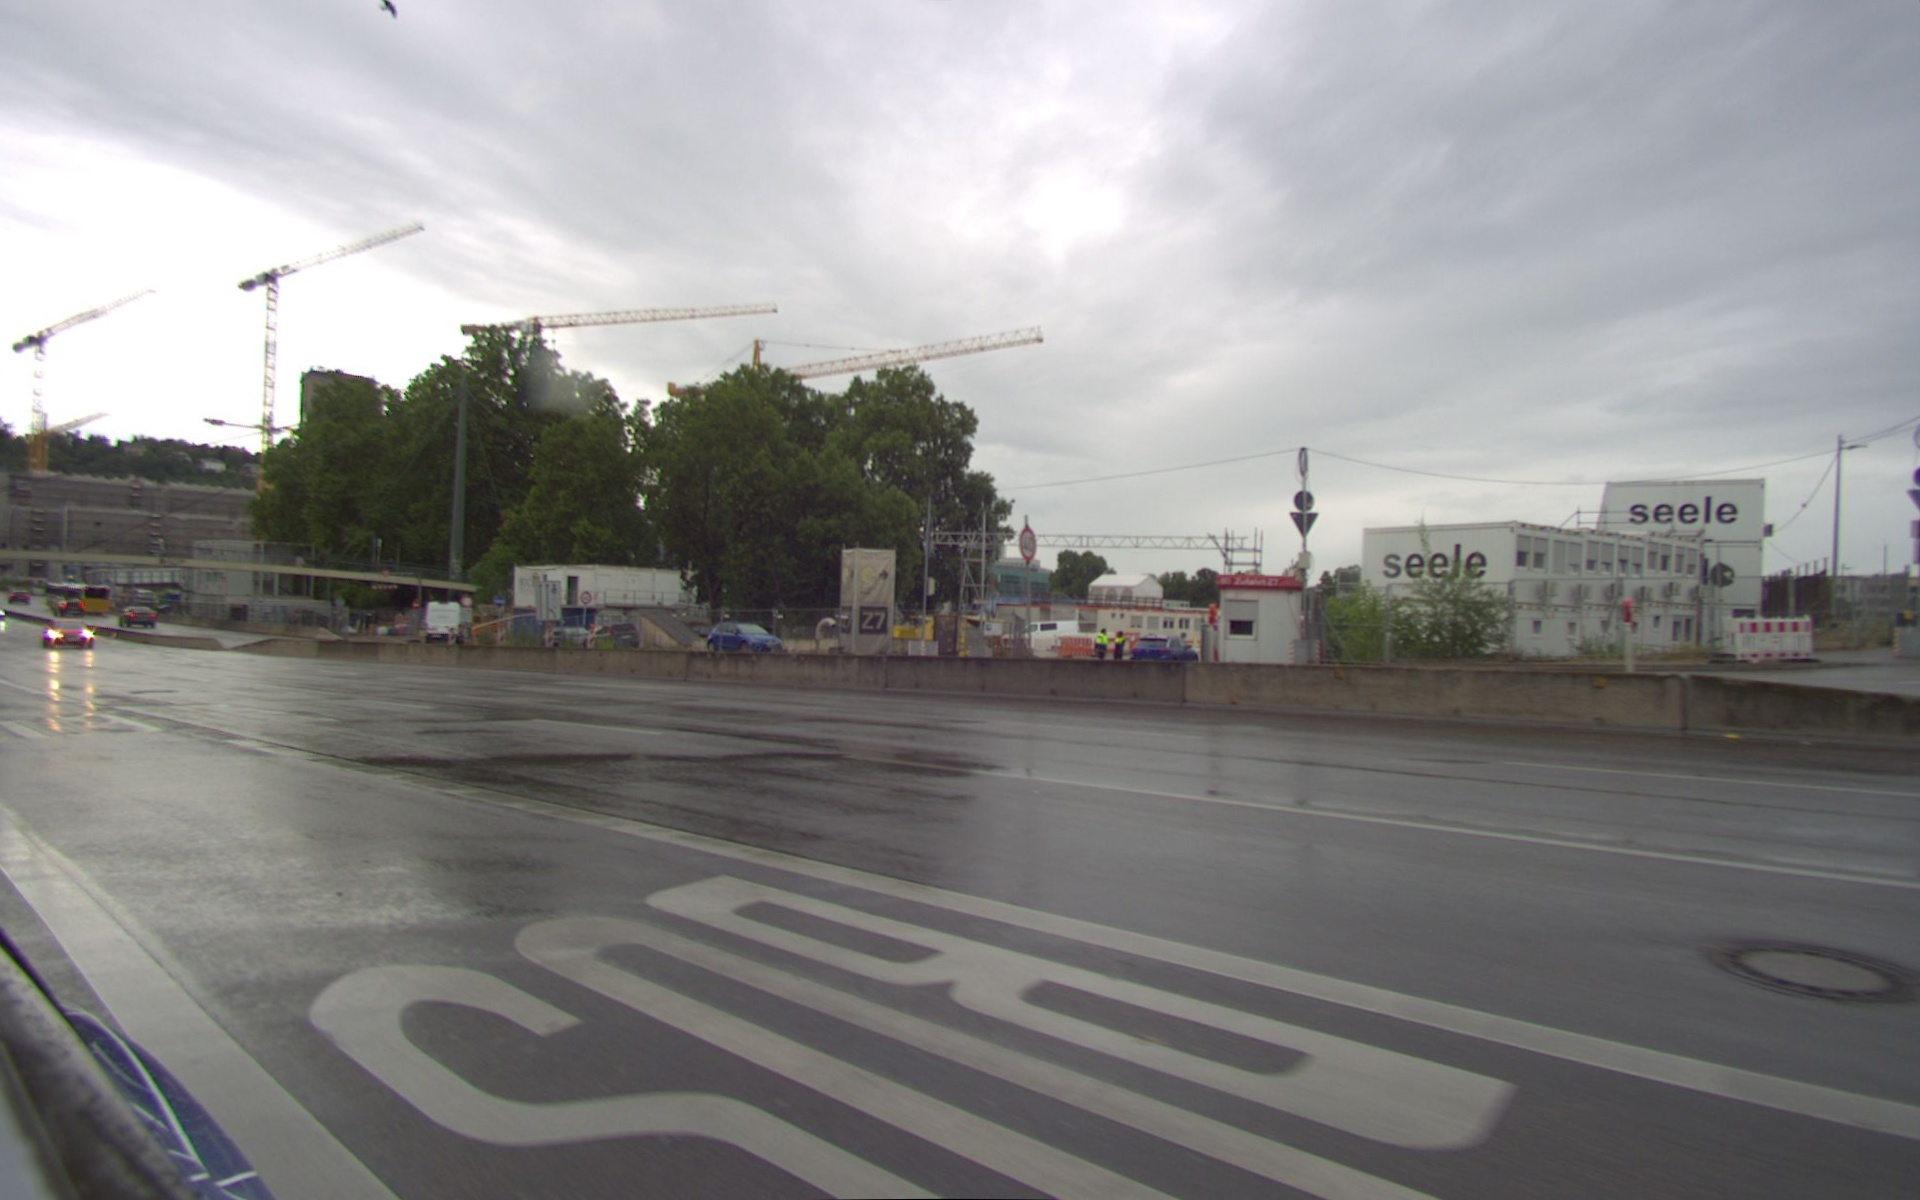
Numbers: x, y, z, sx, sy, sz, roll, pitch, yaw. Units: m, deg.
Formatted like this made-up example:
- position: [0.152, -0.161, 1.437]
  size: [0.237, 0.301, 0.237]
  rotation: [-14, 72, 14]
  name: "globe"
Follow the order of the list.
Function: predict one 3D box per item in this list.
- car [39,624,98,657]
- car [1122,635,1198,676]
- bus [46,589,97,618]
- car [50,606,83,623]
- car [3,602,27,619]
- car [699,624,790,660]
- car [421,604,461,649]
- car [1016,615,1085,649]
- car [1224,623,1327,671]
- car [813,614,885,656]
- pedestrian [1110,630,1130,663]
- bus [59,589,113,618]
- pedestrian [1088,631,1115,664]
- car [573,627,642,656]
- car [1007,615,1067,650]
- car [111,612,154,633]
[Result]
- position: [-44.604, 2.002, 50.592]
  size: [3.998, 1.564, 1.668]
  rotation: [-2, -3, 41]
  name: "car"
- position: [8.120, 2.194, 40.889]
  size: [1.990, 1.519, 3.963]
  rotation: [-1, -1, 27]
  name: "car"
- position: [-101.214, 0.414, 115.212]
  size: [8.948, 3.079, 3.197]
  rotation: [-1, -1, 41]
  name: "bus"
- position: [-88.898, 1.448, 100.669]
  size: [4.436, 1.588, 1.817]
  rotation: [-1, -3, 40]
  name: "car"
- position: [-118.612, 1.296, 127.059]
  size: [4.002, 2.029, 1.971]
  rotation: [-1, -3, 45]
  name: "car"
- position: [-9.543, 1.810, 44.573]
  size: [1.814, 1.501, 4.443]
  rotation: [2, -3, -44]
  name: "car"
- position: [-32.974, 1.720, 64.398]
  size: [2.044, 2.759, 4.608]
  rotation: [1, -2, -25]
  name: "car"
- position: [6.551, 2.353, 73.615]
  size: [4.886, 2.402, 1.997]
  rotation: [0, -2, 5]
  name: "car"
- position: [13.793, 2.030, 44.252]
  size: [3.984, 1.955, 1.979]
  rotation: [0, -3, 30]
  name: "car"
- position: [-6.539, 2.037, 59.389]
  size: [3.998, 2.402, 1.973]
  rotation: [-1, -3, 41]
  name: "car"
- position: [6.649, 1.925, 41.999]
  size: [0.735, 1.363, 0.837]
  rotation: [0, -2, 4]
  name: "pedestrian"
- position: [-94.519, 0.385, 109.374]
  size: [8.949, 2.963, 3.228]
  rotation: [-1, -1, 41]
  name: "bus"
- position: [5.795, 1.932, 41.374]
  size: [0.734, 1.363, 0.838]
  rotation: [2, -3, -44]
  name: "pedestrian"
- position: [-18.916, 2.192, 54.196]
  size: [1.814, 1.501, 4.444]
  rotation: [2, -3, -43]
  name: "car"
- position: [5.455, 2.300, 71.303]
  size: [3.961, 2.402, 1.991]
  rotation: [0, -2, 14]
  name: "car"
- position: [-66.598, 1.813, 81.437]
  size: [4.435, 1.588, 1.817]
  rotation: [-1, -3, 39]
  name: "car"
